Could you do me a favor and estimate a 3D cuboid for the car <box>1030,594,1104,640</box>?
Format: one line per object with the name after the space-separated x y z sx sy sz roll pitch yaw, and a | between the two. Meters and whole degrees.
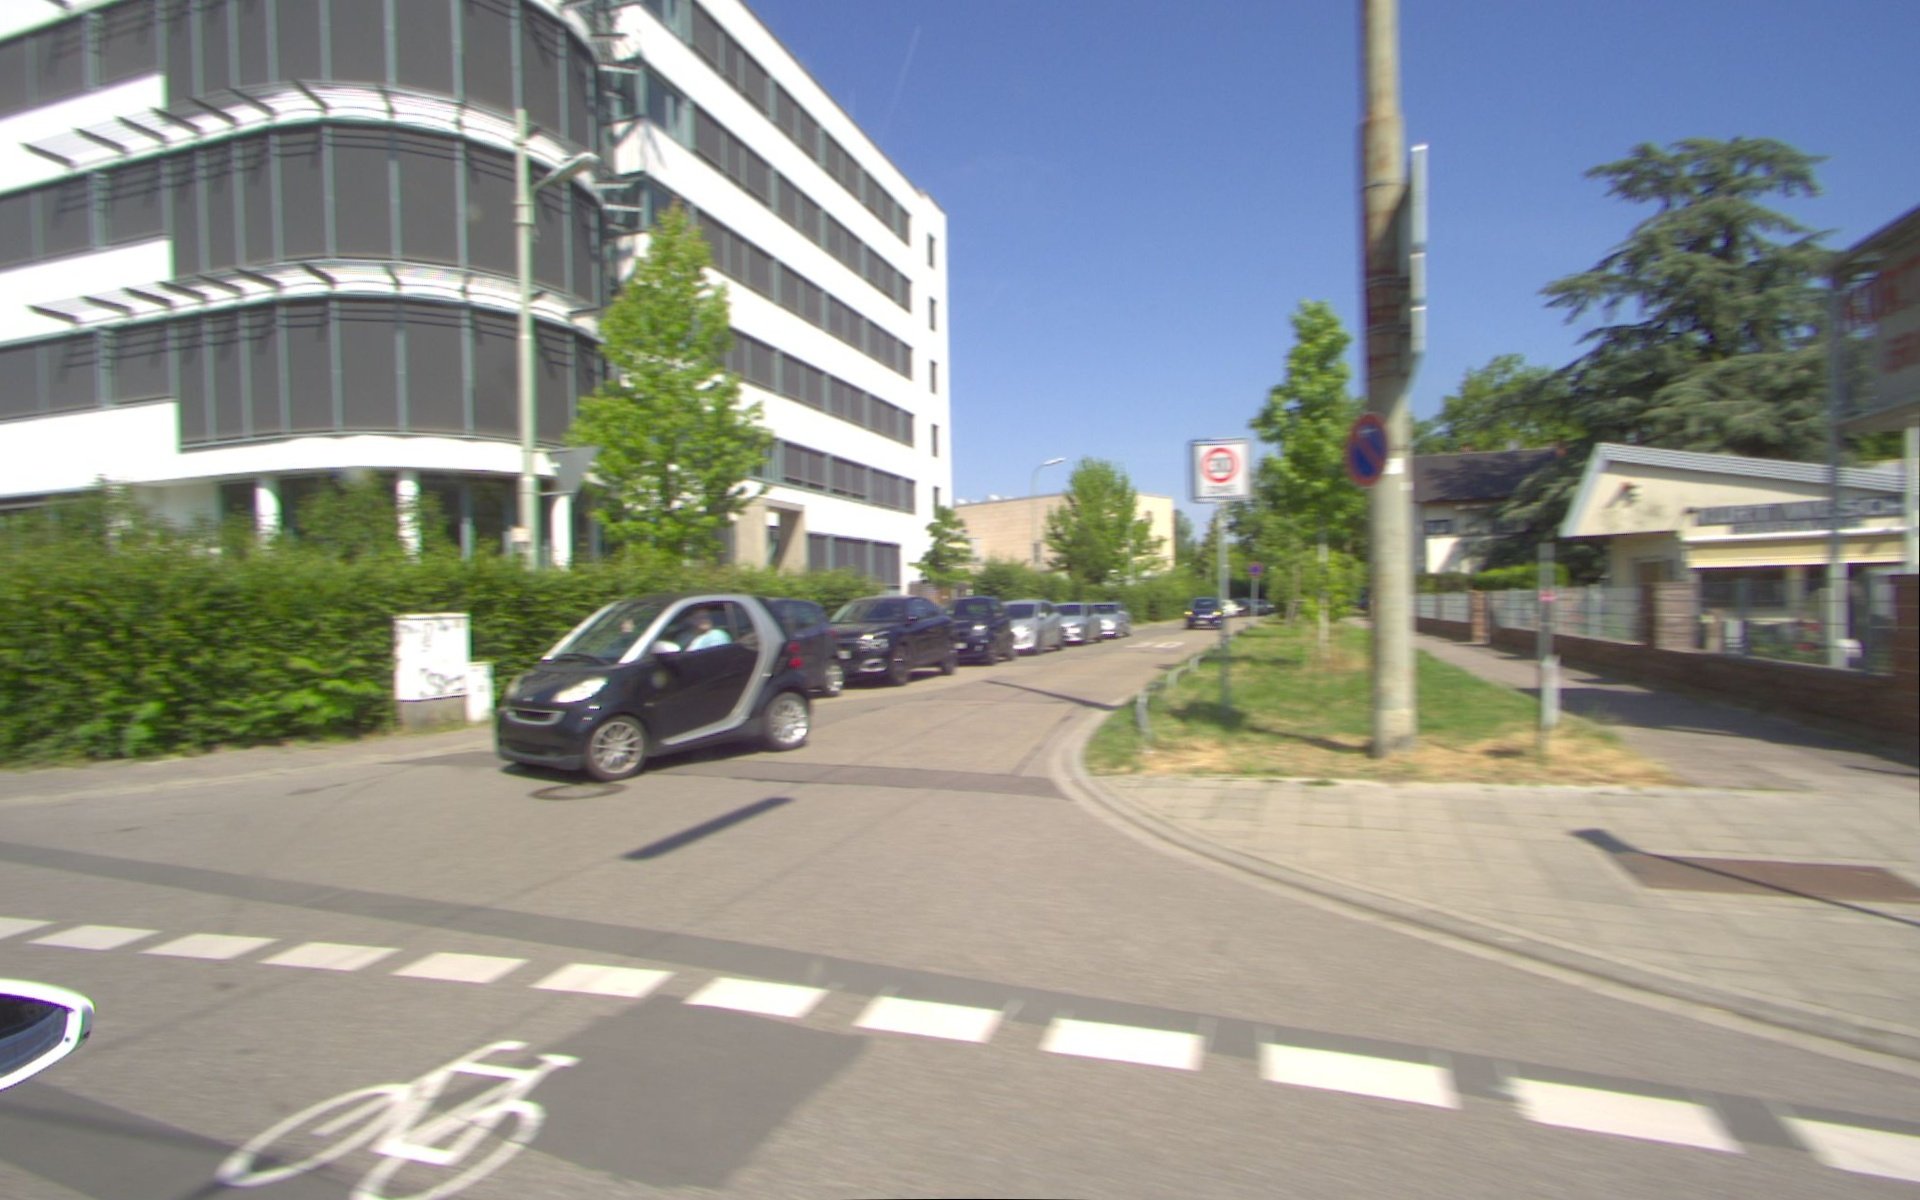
3.630 0.534 33.408 1.782 1.422 3.822 -1 0 17 | car

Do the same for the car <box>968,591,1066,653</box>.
1.654 0.551 27.617 1.783 1.525 4.037 -1 1 17 | car

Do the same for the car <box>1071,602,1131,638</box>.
5.605 0.754 39.404 1.782 1.340 3.822 -1 0 17 | car

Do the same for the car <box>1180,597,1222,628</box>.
12.307 0.605 50.997 1.901 1.469 3.822 -1 0 17 | car

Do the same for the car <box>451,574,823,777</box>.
-2.873 0.562 9.303 1.461 1.559 2.953 -1 1 39 | car

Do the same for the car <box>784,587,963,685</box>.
-1.394 0.581 17.992 1.782 1.539 4.162 -1 0 17 | car

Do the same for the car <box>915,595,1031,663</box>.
0.398 0.645 23.748 1.751 1.463 3.844 -1 0 17 | car

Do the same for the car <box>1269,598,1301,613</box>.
31.250 0.494 96.149 1.792 1.340 3.802 -1 0 36 | car

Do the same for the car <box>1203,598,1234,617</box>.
21.687 0.611 84.014 1.904 1.469 3.815 -1 0 25 | car

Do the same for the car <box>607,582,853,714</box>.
-2.974 0.569 13.760 1.674 1.548 3.690 -1 0 17 | car

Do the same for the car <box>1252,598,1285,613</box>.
28.404 0.519 92.185 1.792 1.340 3.802 -1 0 36 | car
